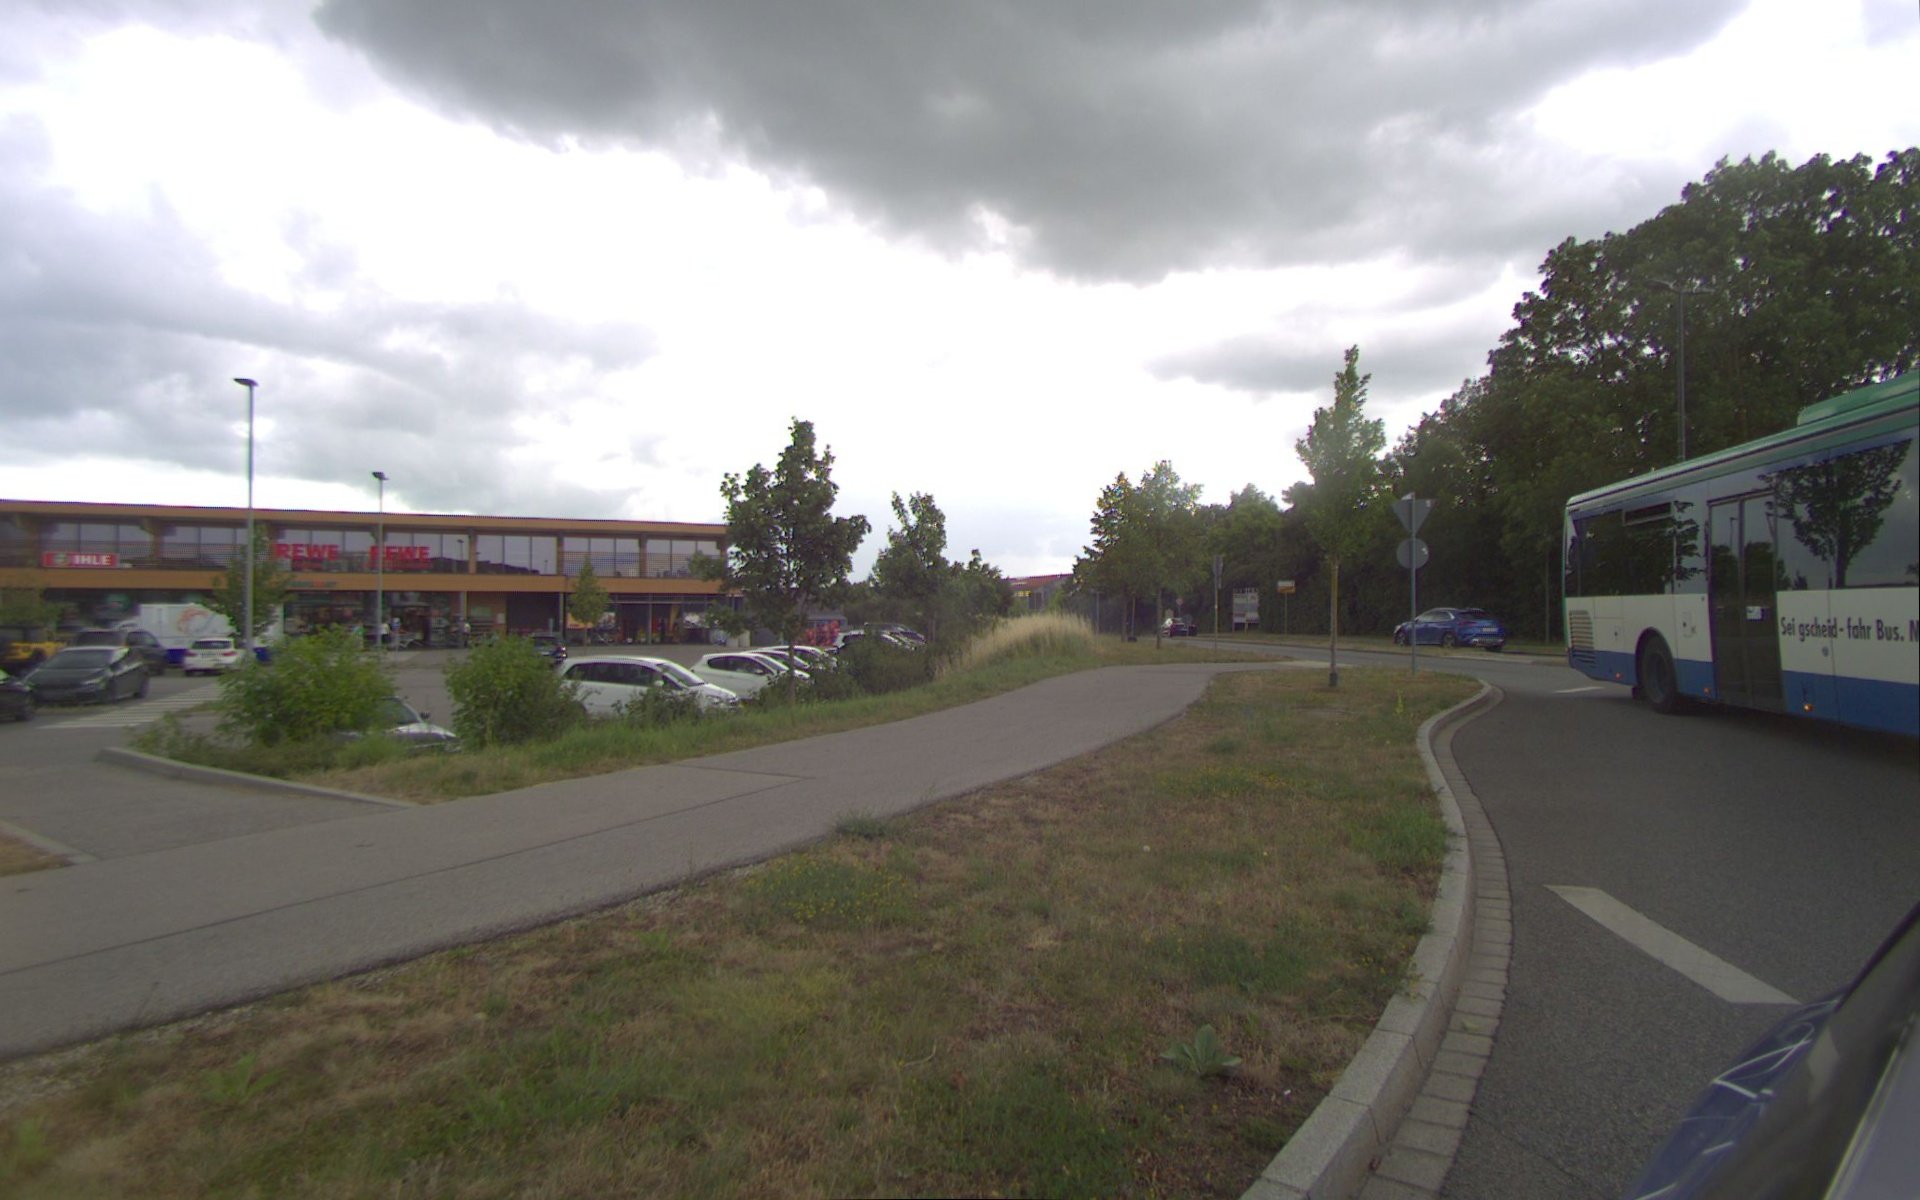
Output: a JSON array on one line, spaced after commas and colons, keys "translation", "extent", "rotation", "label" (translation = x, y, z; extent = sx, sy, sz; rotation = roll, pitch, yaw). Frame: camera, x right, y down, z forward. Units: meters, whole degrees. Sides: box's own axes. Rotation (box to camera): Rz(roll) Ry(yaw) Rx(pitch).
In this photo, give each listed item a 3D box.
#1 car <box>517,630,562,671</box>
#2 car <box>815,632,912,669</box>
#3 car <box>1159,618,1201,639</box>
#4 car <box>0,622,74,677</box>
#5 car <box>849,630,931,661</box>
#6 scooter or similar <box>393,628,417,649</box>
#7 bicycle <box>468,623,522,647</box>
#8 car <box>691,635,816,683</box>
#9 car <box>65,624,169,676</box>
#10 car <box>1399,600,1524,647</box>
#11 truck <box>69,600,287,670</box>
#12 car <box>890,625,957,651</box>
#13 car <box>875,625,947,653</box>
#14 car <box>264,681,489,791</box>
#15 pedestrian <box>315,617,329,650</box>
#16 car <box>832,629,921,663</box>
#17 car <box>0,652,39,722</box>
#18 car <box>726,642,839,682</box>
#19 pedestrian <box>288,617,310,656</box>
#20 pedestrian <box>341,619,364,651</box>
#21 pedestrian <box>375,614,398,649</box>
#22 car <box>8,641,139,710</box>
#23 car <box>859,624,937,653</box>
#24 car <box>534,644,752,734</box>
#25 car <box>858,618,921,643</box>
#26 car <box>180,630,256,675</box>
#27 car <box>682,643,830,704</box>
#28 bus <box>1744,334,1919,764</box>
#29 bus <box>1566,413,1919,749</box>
[{"translation": [-17.981, 2.105, 43.231], "extent": [1.680, 1.588, 3.676], "rotation": [0, 0, -23], "label": "car"}, {"translation": [-4.125, 2.158, 43.409], "extent": [3.826, 1.483, 1.692], "rotation": [0, -1, 10], "label": "car"}, {"translation": [15.071, 1.968, 69.546], "extent": [1.795, 1.324, 4.116], "rotation": [1, 0, -3], "label": "car"}, {"translation": [-34.465, 1.786, 37.100], "extent": [1.735, 1.878, 4.007], "rotation": [-1, -1, -21], "label": "car"}, {"translation": [-3.468, 2.256, 50.355], "extent": [3.826, 1.483, 1.692], "rotation": [0, -1, 10], "label": "car"}, {"translation": [-31.448, 2.172, 57.334], "extent": [0.790, 1.141, 0.988], "rotation": [-4, -4, 40], "label": "scooter or similar"}, {"translation": [-26.929, 2.011, 58.717], "extent": [2.810, 1.326, 0.981], "rotation": [0, -1, -23], "label": "bicycle"}, {"translation": [-6.360, 1.822, 31.514], "extent": [3.603, 1.311, 1.717], "rotation": [-1, 0, -4], "label": "car"}, {"translation": [-31.345, 1.806, 37.769], "extent": [1.813, 1.747, 4.127], "rotation": [-2, 0, -22], "label": "car"}, {"translation": [16.899, 0.847, 34.367], "extent": [1.727, 1.449, 4.086], "rotation": [-1, -3, -8], "label": "car"}, {"translation": [-34.005, 1.451, 44.423], "extent": [7.109, 2.843, 2.981], "rotation": [0, -1, -26], "label": "truck"}, {"translation": [-2.182, 2.287, 61.255], "extent": [3.826, 1.483, 1.692], "rotation": [0, -1, 10], "label": "car"}, {"translation": [-2.771, 2.186, 57.293], "extent": [3.826, 1.483, 1.692], "rotation": [0, -1, 10], "label": "car"}, {"translation": [-9.281, 2.066, 16.035], "extent": [3.702, 1.390, 1.563], "rotation": [-2, -1, 32], "label": "car"}, {"translation": [-38.215, 1.993, 60.610], "extent": [0.522, 1.973, 0.570], "rotation": [-1, -1, 39], "label": "pedestrian"}, {"translation": [-3.876, 2.128, 47.271], "extent": [3.826, 1.483, 1.692], "rotation": [0, -1, 10], "label": "car"}, {"translation": [-21.709, 1.938, 21.700], "extent": [1.799, 1.416, 4.006], "rotation": [0, 0, -26], "label": "car"}, {"translation": [-6.132, 2.128, 35.124], "extent": [3.612, 1.311, 1.413], "rotation": [0, -1, 6], "label": "car"}, {"translation": [-35.302, 1.962, 54.036], "extent": [0.913, 2.039, 0.806], "rotation": [0, -1, -30], "label": "pedestrian"}, {"translation": [-32.921, 1.883, 54.823], "extent": [0.792, 1.678, 0.748], "rotation": [0, -1, 11], "label": "pedestrian"}, {"translation": [-32.071, 1.759, 56.623], "extent": [0.790, 1.923, 0.915], "rotation": [-4, -4, 40], "label": "pedestrian"}, {"translation": [-23.883, 1.972, 27.432], "extent": [1.696, 1.573, 4.005], "rotation": [0, -1, -26], "label": "car"}, {"translation": [-3.275, 2.013, 53.500], "extent": [3.826, 1.483, 1.692], "rotation": [0, -1, 10], "label": "car"}, {"translation": [-7.133, 1.970, 23.013], "extent": [4.366, 1.694, 1.798], "rotation": [2, 1, 5], "label": "car"}, {"translation": [-4.511, 1.936, 64.313], "extent": [3.920, 1.462, 1.886], "rotation": [0, 0, -5], "label": "car"}, {"translation": [-28.609, 1.982, 39.120], "extent": [1.696, 1.549, 4.006], "rotation": [0, 0, -27], "label": "car"}, {"translation": [-5.845, 2.107, 29.356], "extent": [3.922, 1.527, 2.001], "rotation": [-1, 0, -2], "label": "car"}, {"translation": [8.403, -0.369, 6.825], "extent": [2.488, 3.298, 6.521], "rotation": [0, 1, 14], "label": "bus"}, {"translation": [9.876, -0.244, 12.633], "extent": [2.488, 3.298, 5.437], "rotation": [0, 1, 15], "label": "bus"}]
